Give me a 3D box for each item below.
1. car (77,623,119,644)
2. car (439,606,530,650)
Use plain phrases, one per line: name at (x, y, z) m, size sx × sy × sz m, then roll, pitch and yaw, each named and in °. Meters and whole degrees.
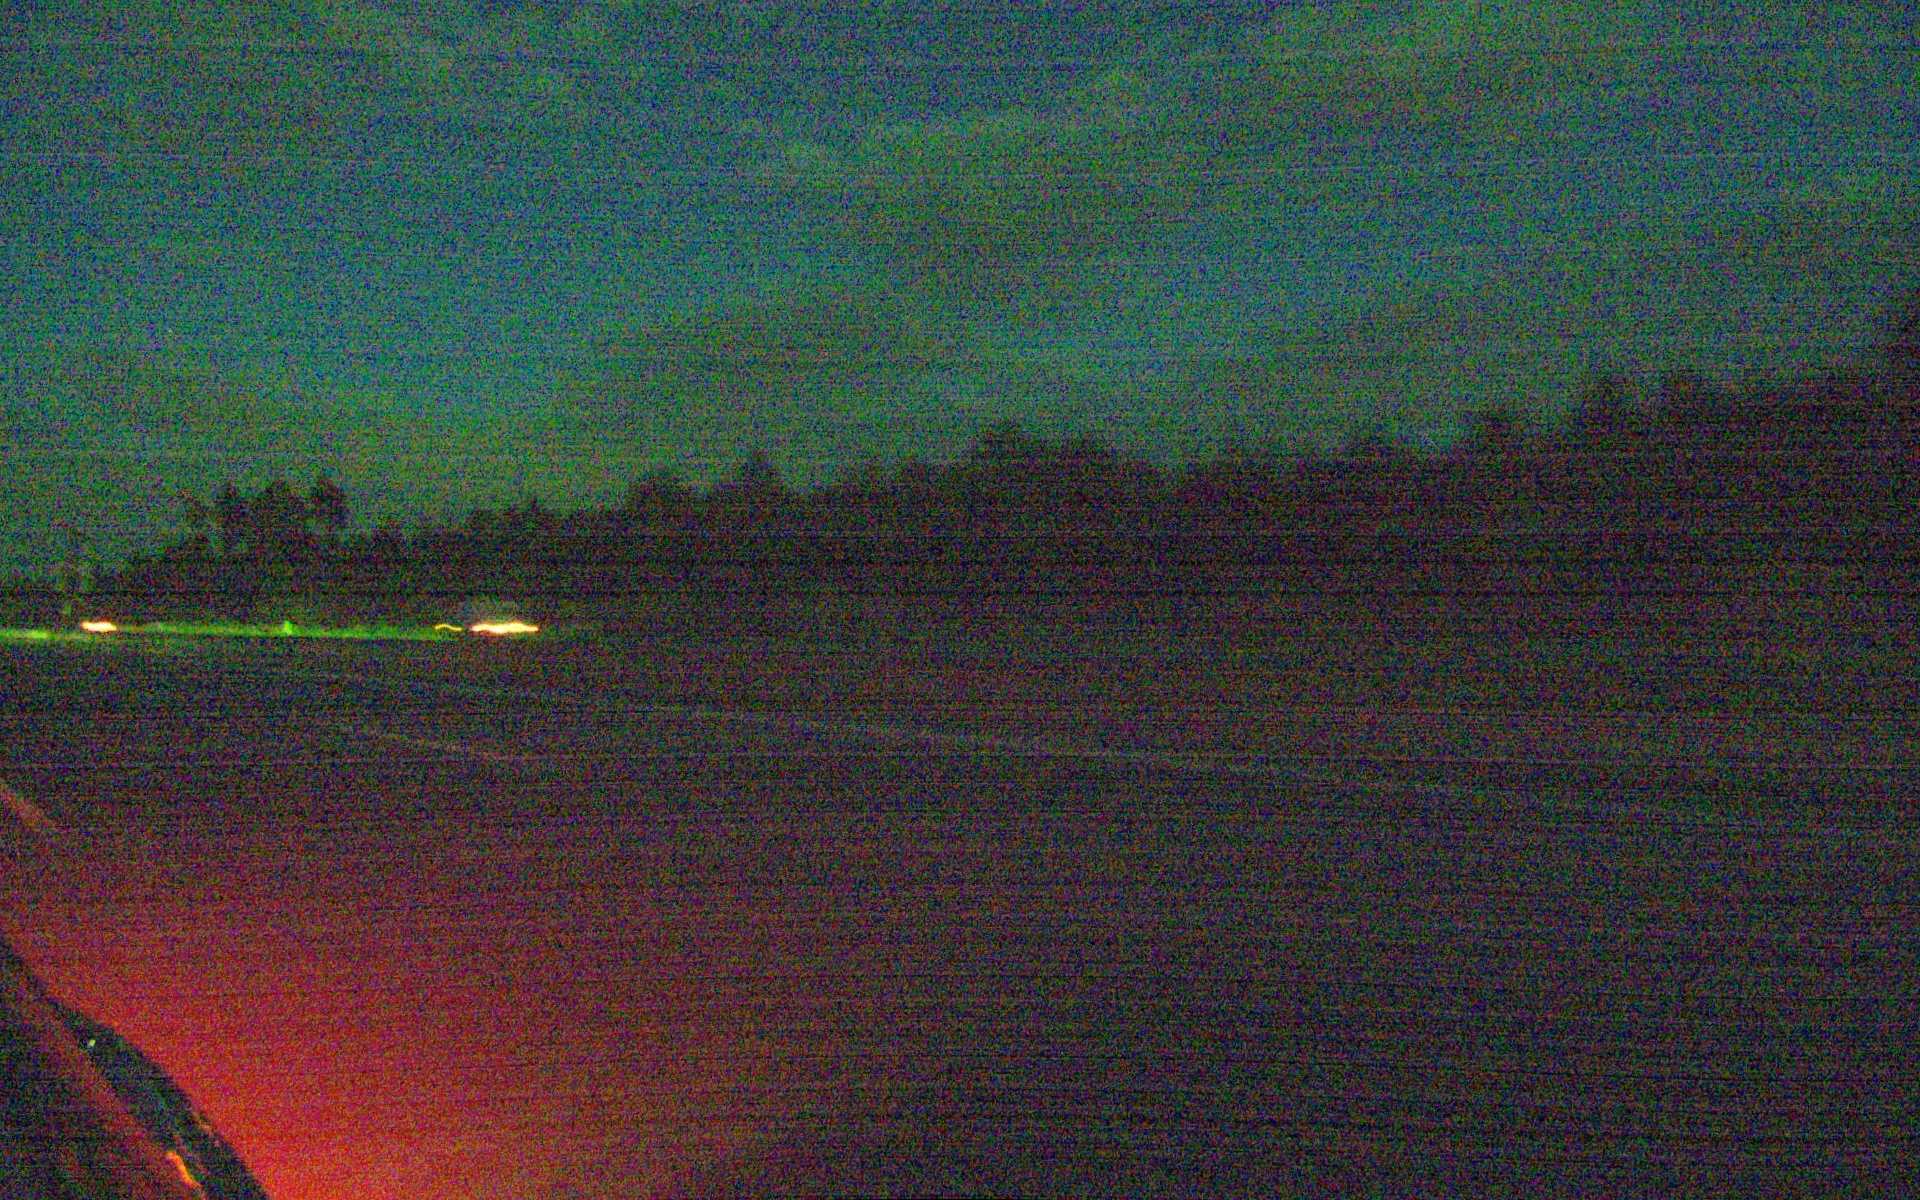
car at (-71.823, 2.756, 84.301) m, size 4.209 × 1.614 × 1.974 m, roll -1°, pitch 0°, yaw 40°
car at (-23.032, 1.306, 48.915) m, size 5.183 × 2.029 × 2.005 m, roll -1°, pitch 0°, yaw 40°
